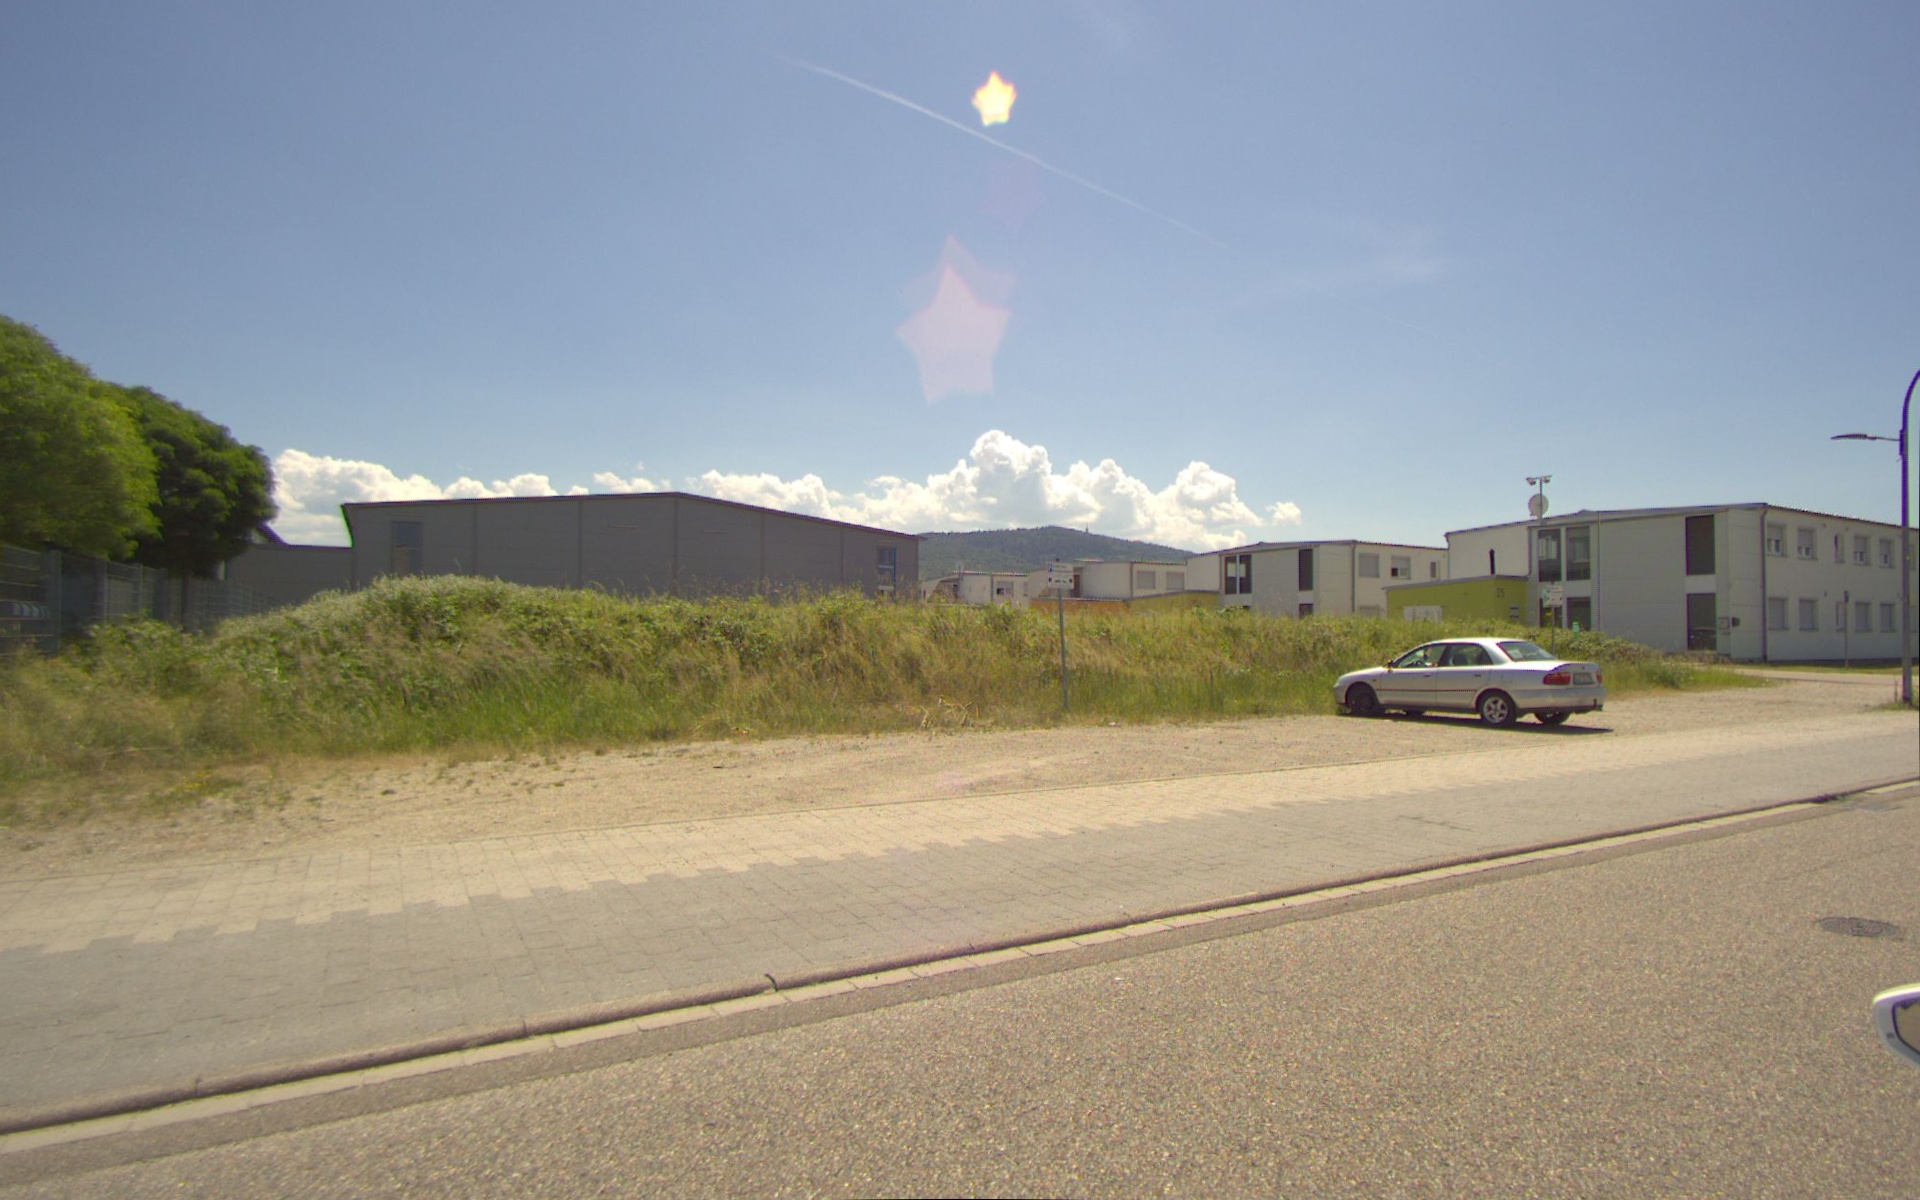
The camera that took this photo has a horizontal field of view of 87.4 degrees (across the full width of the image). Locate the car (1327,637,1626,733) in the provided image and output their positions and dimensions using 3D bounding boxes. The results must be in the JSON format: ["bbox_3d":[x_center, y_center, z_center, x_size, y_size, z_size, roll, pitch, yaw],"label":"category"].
[{"bbox_3d":[8.566,1.340,17.080,1.839,1.397,4.229,1,-3,-29],"label":"car"}]
